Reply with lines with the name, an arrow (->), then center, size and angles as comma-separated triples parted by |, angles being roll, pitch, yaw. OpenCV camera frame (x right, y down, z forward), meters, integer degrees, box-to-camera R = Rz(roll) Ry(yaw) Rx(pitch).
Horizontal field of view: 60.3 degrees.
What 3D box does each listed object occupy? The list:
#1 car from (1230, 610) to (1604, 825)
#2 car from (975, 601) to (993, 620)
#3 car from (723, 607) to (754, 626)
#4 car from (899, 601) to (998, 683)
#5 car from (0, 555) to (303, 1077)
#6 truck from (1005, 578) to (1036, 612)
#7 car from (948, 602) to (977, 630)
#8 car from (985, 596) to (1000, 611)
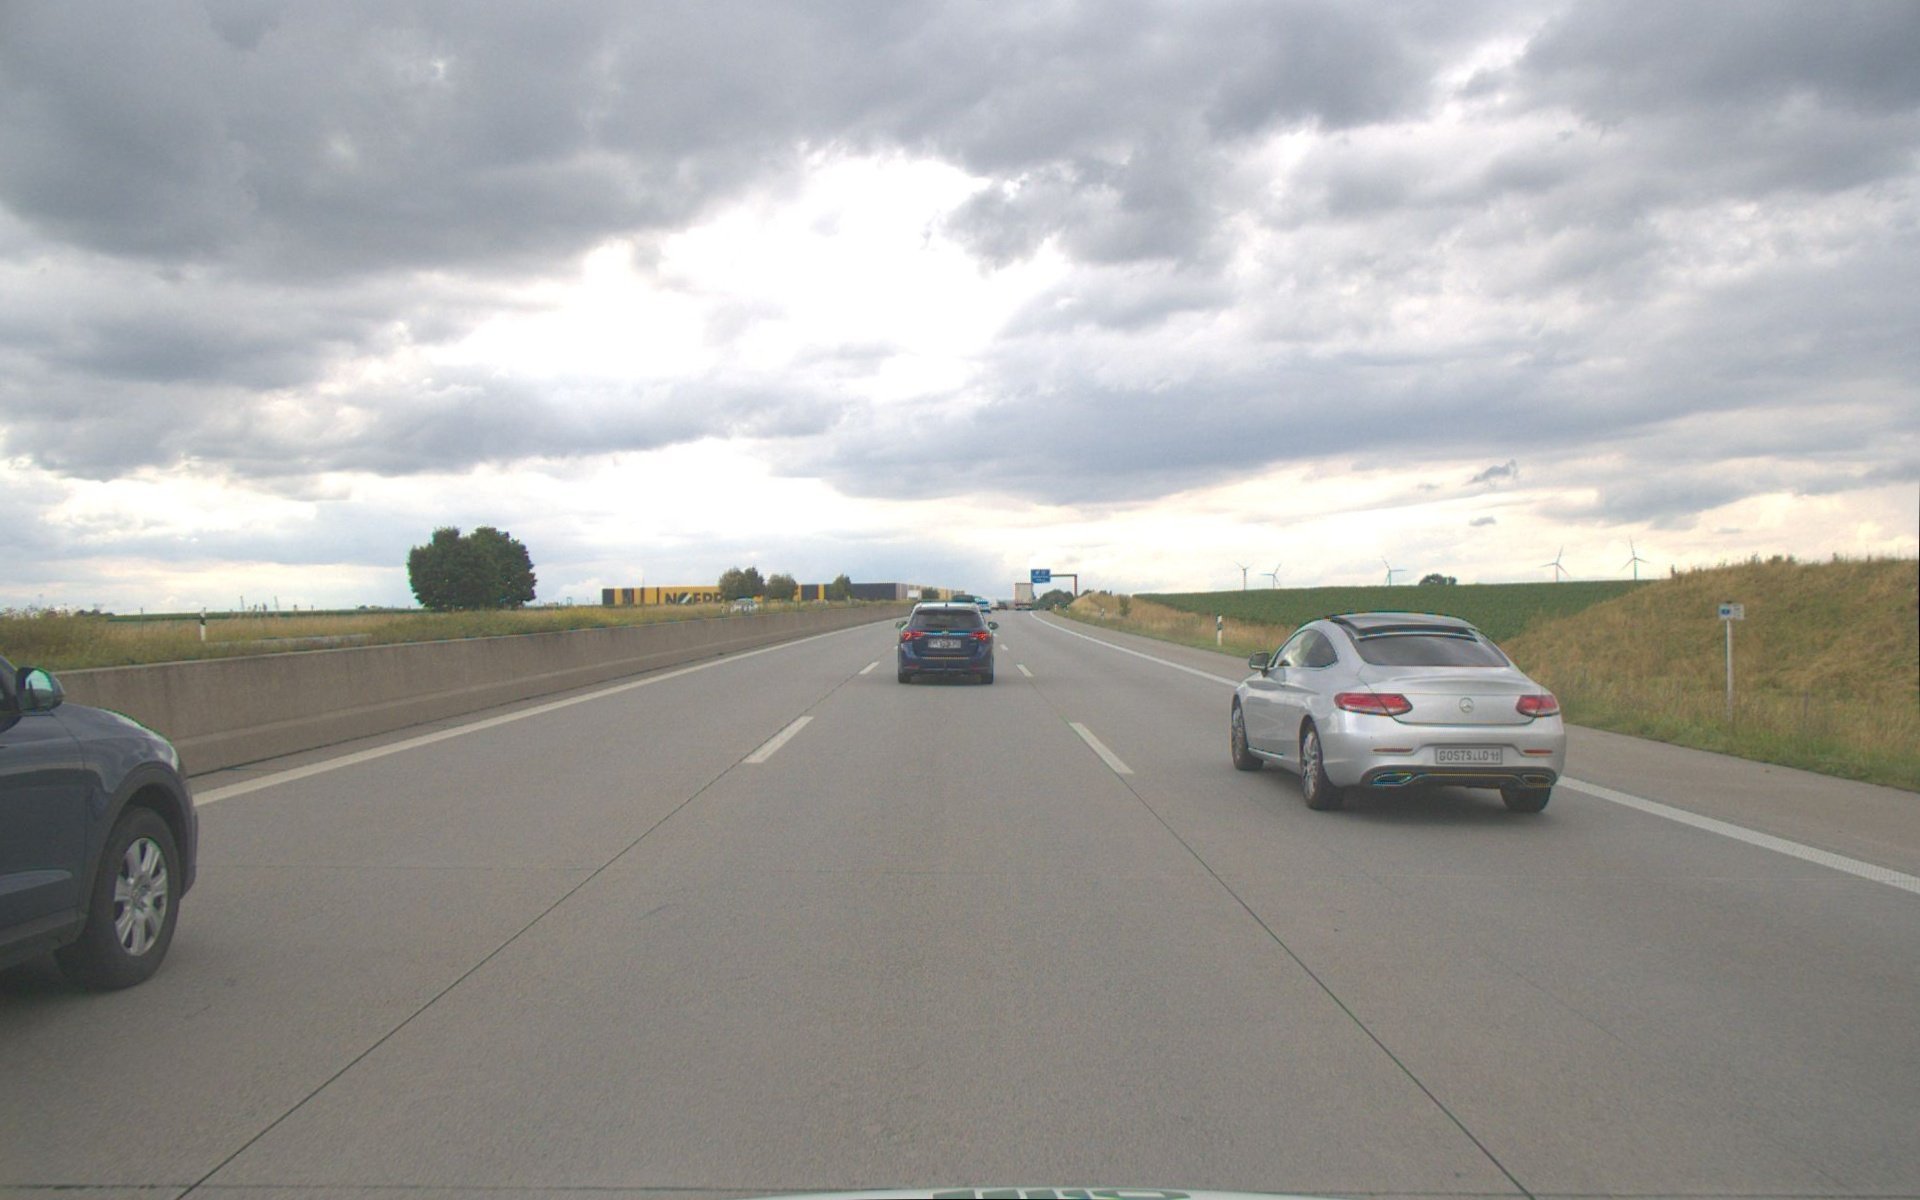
car -> 3.413, 0.804, 13.204 | 1.752, 1.428, 4.220 | 0, 0, -1
car -> 2.652, 1.142, 183.154 | 1.953, 2.049, 4.000 | 2, 0, 0
car -> -18.524, 1.386, 138.712 | 1.858, 1.496, 4.849 | 1, -1, 0
car -> -0.241, 0.752, 31.017 | 1.738, 1.438, 3.999 | 0, 0, -1
car -> -3.853, 0.655, 5.134 | 1.757, 1.624, 5.154 | 1, 0, -3
truck -> 9.102, -0.743, 249.923 | 3.870, 4.839, 12.072 | 1, -1, -1
car -> 0.158, 1.227, 123.685 | 1.954, 2.049, 3.997 | 1, -1, -3
car -> 4.533, 0.474, 233.445 | 1.953, 2.049, 3.999 | 1, -1, -1
